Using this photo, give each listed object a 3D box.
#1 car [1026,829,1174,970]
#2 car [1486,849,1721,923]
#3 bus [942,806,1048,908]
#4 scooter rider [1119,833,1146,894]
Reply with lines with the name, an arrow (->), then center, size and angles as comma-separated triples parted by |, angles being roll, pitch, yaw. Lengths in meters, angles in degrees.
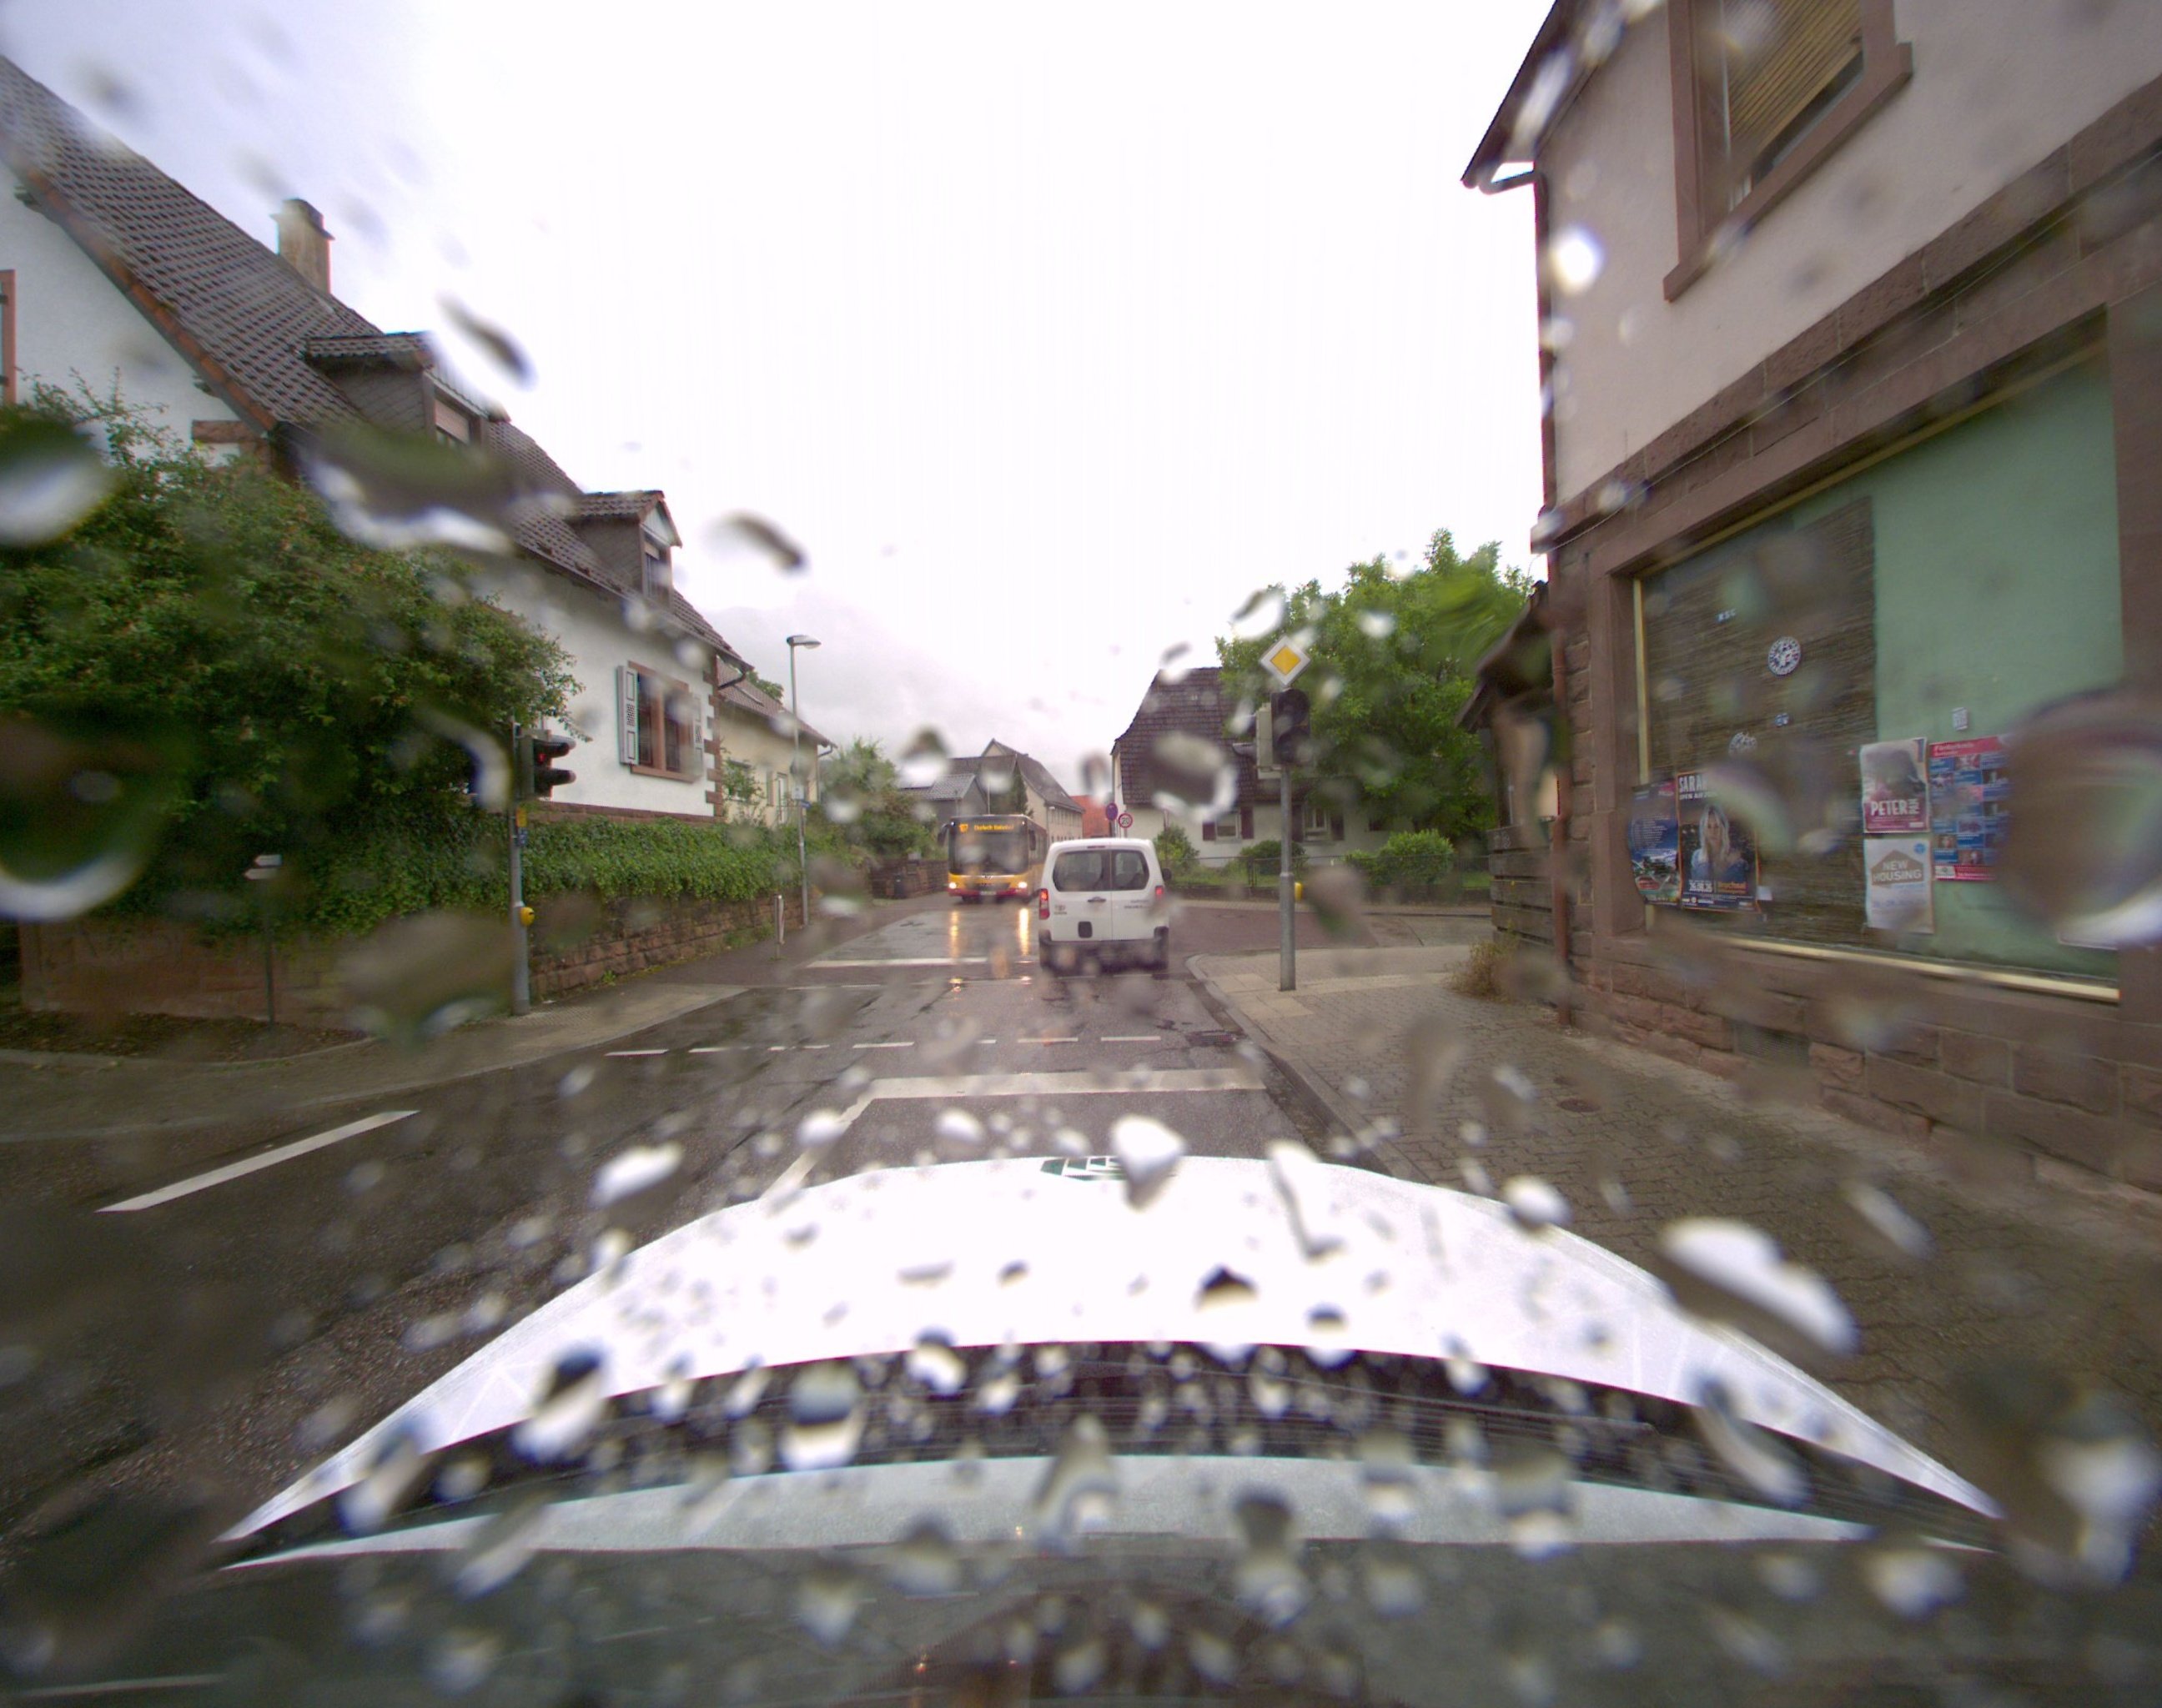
car -> 0.371, 0.586, 12.416 | 1.886, 1.794, 3.817 | -1, 0, 4
car -> 11.130, 0.654, 17.661 | 3.957, 1.466, 1.791 | 0, -1, 16
bus -> -2.850, -0.066, 30.822 | 2.641, 2.999, 12.192 | -2, 1, 0
scooter rider -> 1.512, 0.265, 23.861 | 0.728, 1.733, 0.518 | -2, 1, 3
